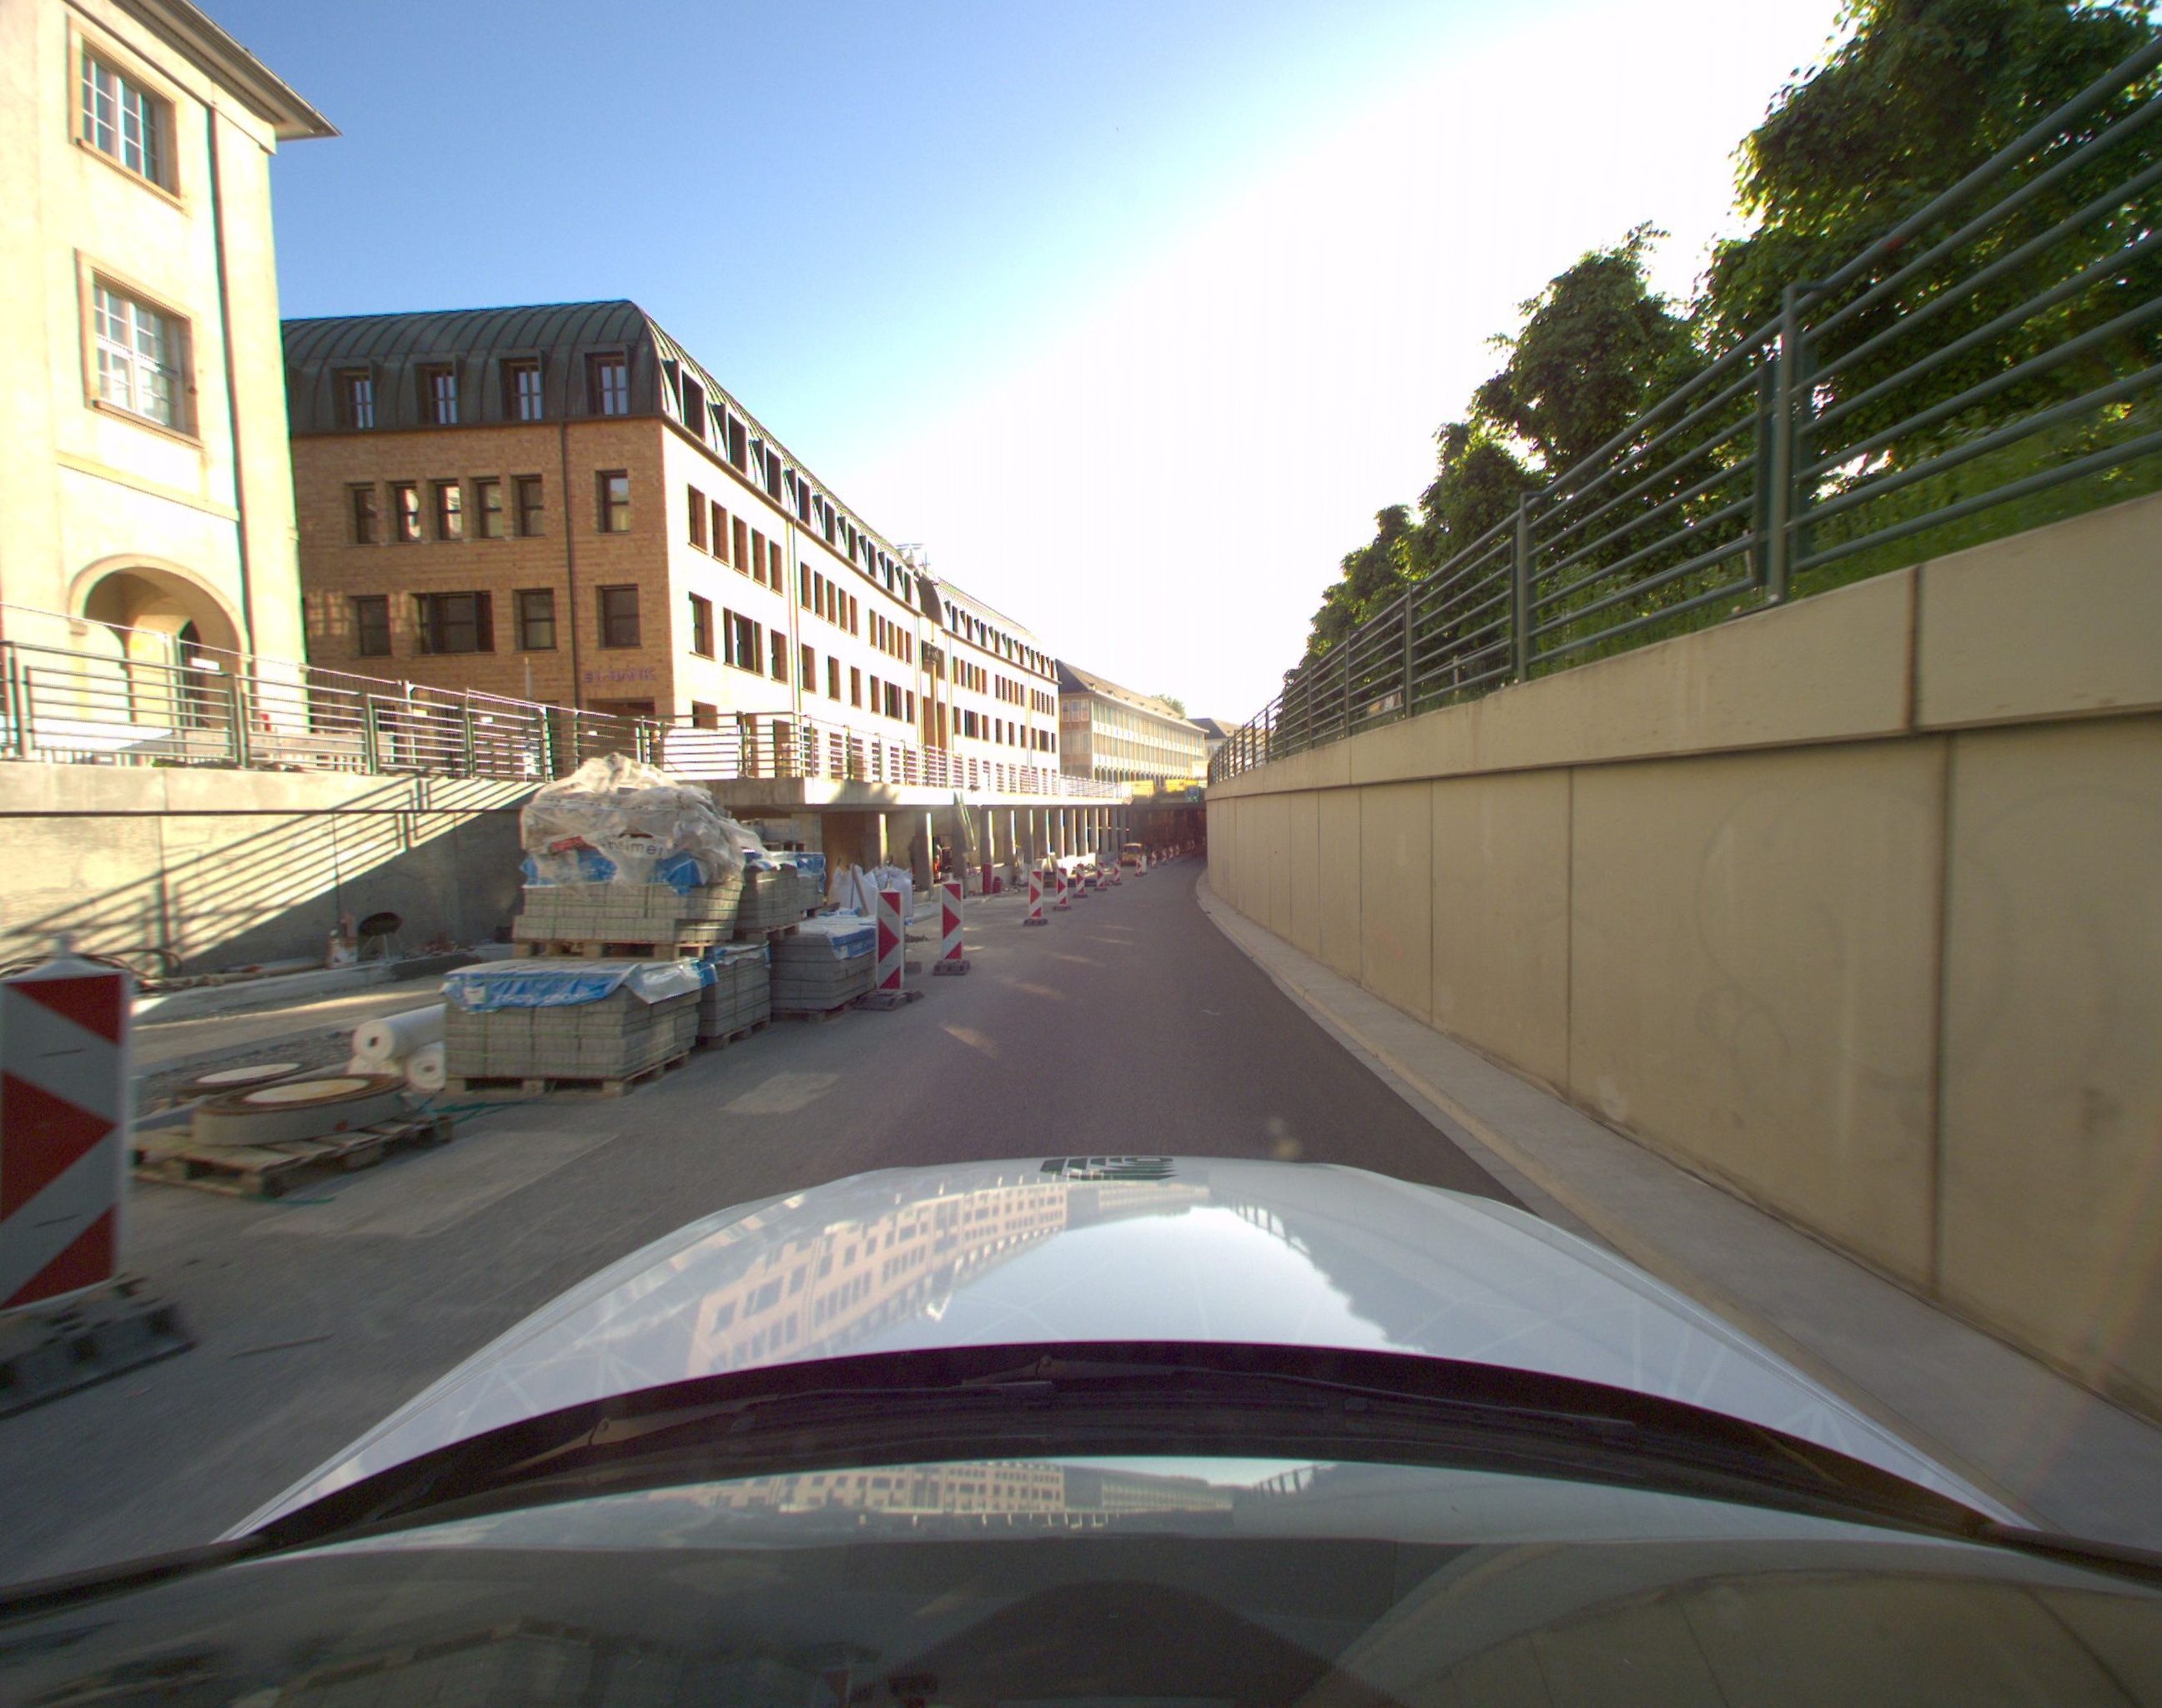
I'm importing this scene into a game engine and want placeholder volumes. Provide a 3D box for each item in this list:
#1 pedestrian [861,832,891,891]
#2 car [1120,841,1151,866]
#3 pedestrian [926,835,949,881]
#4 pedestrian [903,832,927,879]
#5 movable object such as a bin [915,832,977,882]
[{"bbox_3d":[-6.985,0.245,27.784,0.674,1.957,0.938,1,0,6],"label":"pedestrian"},{"bbox_3d":[4.405,-0.088,65.676,1.835,1.775,4.451,0,3,12],"label":"car"},{"bbox_3d":[-5.692,0.161,32.314,0.652,1.805,0.627,0,0,14],"label":"pedestrian"},{"bbox_3d":[-6.462,0.057,31.718,0.701,1.814,0.711,1,0,4],"label":"pedestrian"},{"bbox_3d":[-5.649,0.103,34.392,1.876,1.987,3.163,0,1,5],"label":"movable object such as a bin"}]
